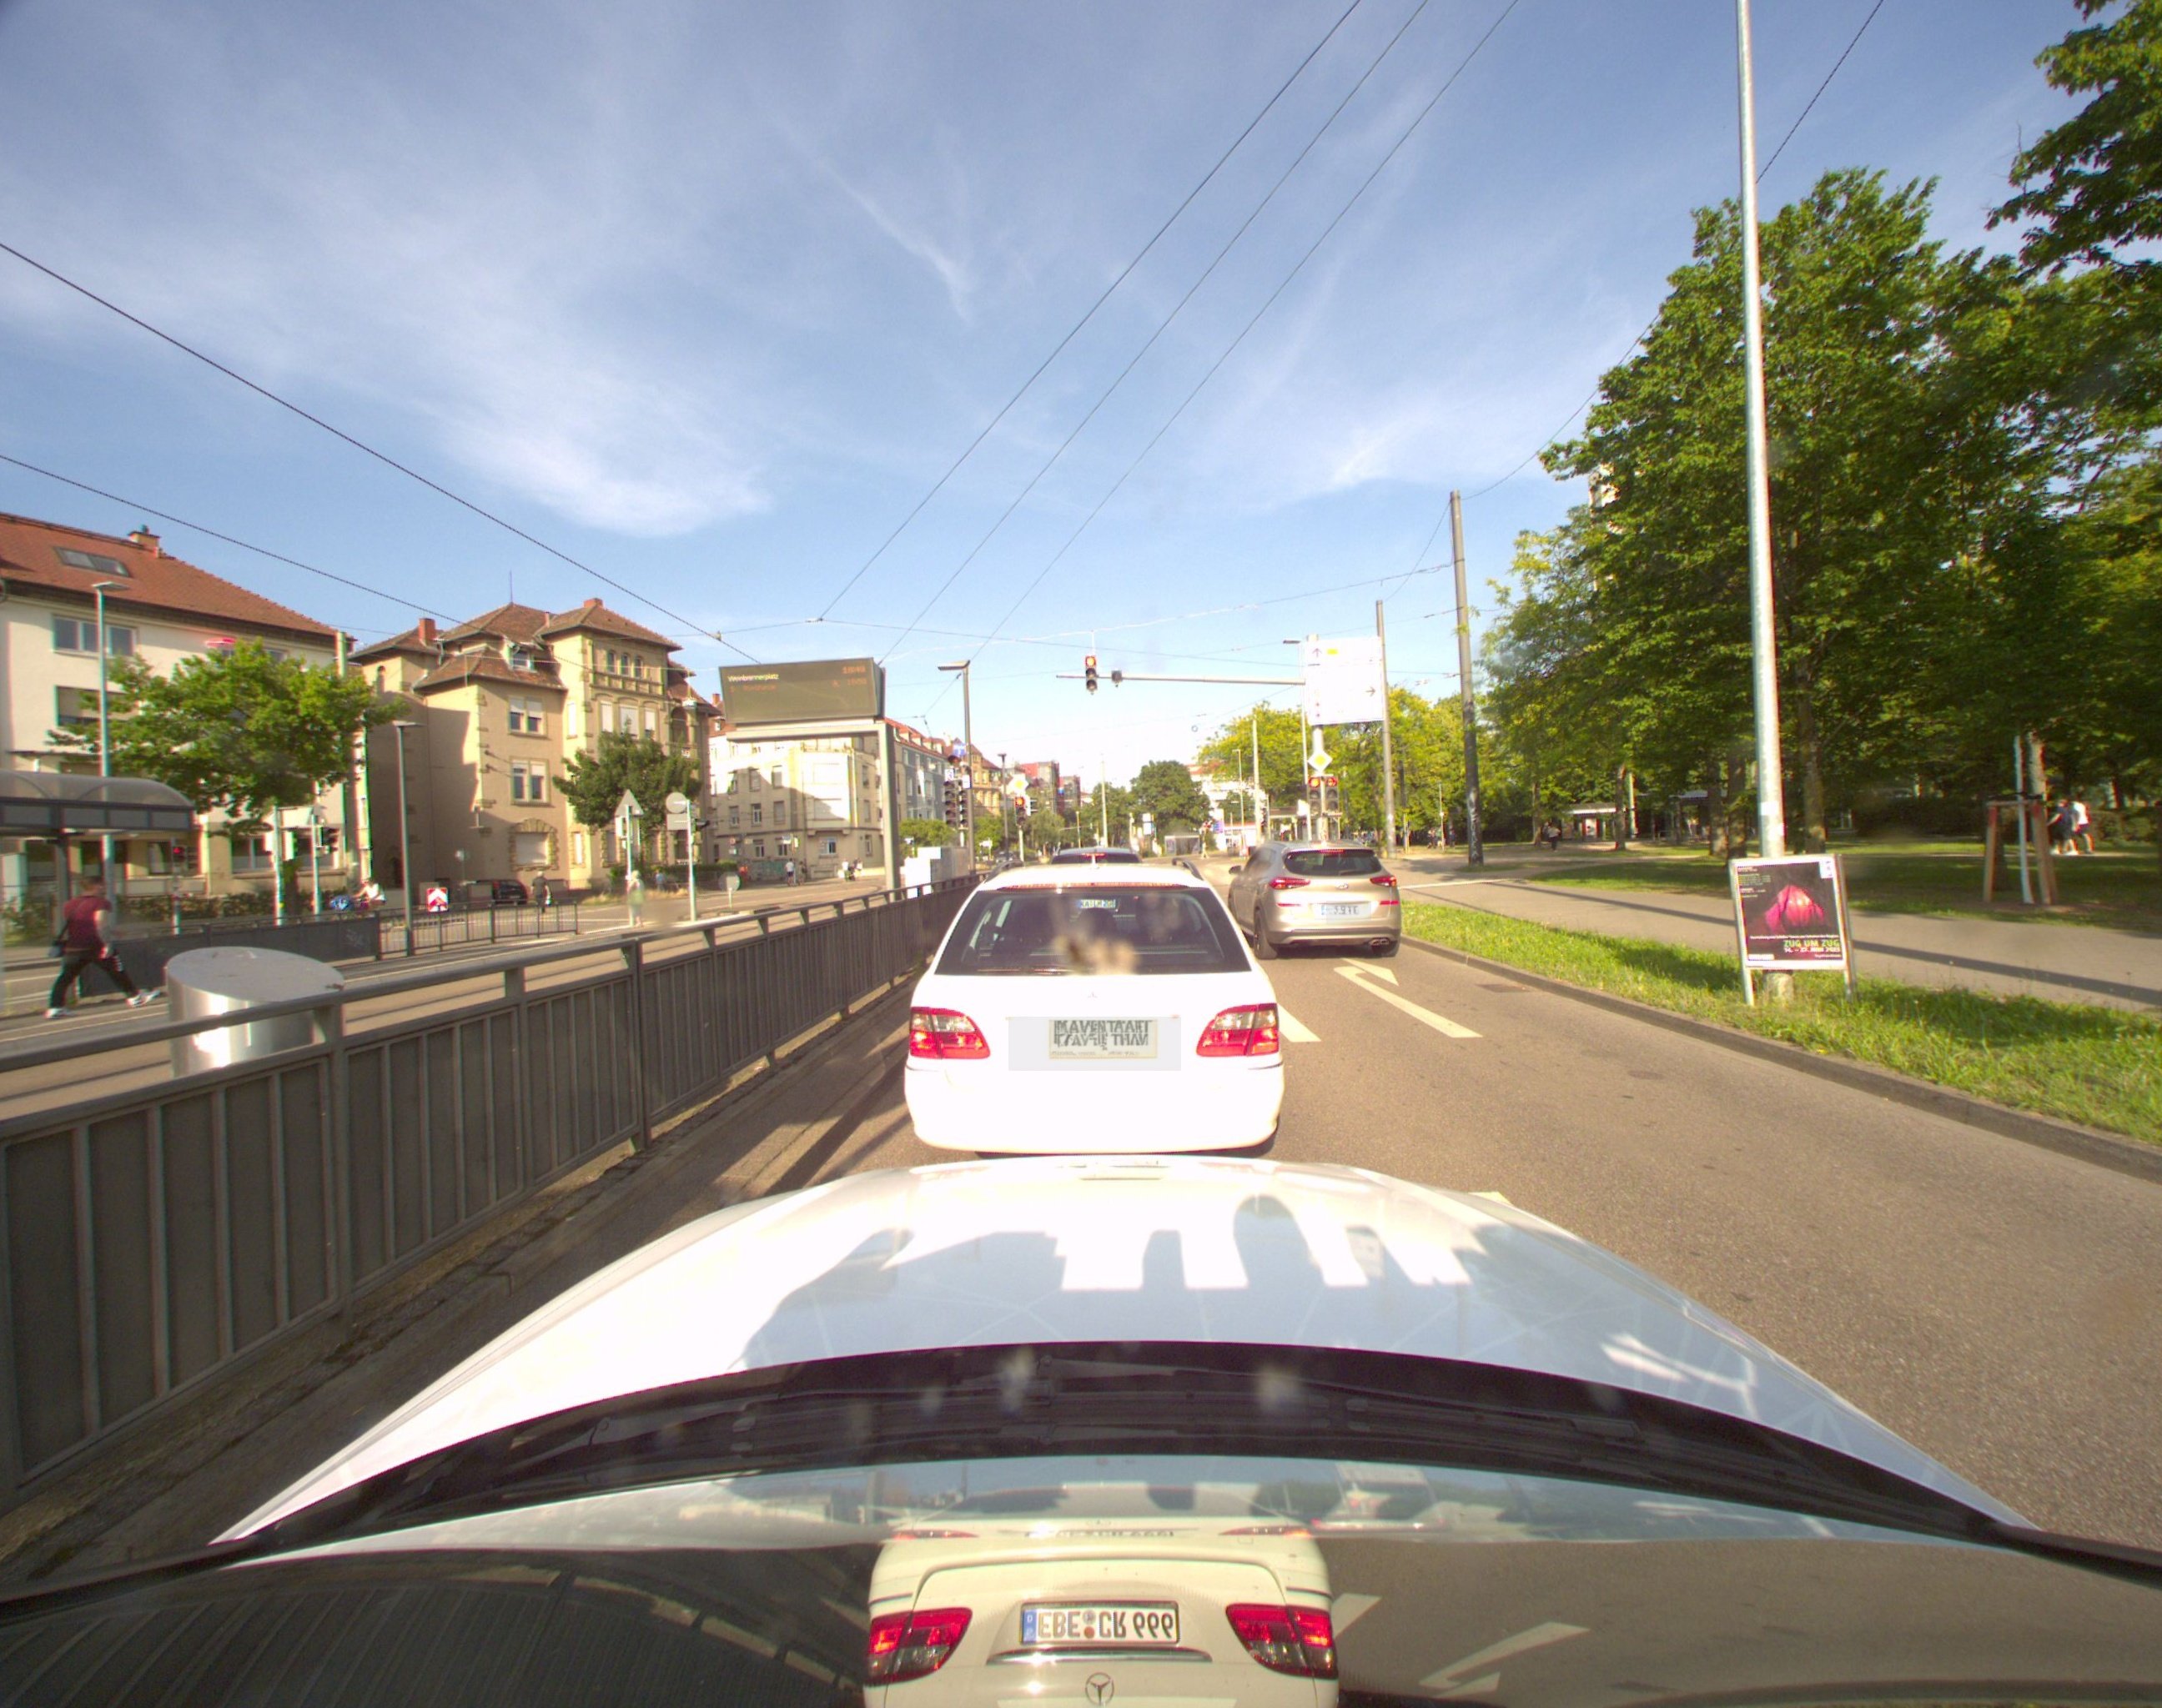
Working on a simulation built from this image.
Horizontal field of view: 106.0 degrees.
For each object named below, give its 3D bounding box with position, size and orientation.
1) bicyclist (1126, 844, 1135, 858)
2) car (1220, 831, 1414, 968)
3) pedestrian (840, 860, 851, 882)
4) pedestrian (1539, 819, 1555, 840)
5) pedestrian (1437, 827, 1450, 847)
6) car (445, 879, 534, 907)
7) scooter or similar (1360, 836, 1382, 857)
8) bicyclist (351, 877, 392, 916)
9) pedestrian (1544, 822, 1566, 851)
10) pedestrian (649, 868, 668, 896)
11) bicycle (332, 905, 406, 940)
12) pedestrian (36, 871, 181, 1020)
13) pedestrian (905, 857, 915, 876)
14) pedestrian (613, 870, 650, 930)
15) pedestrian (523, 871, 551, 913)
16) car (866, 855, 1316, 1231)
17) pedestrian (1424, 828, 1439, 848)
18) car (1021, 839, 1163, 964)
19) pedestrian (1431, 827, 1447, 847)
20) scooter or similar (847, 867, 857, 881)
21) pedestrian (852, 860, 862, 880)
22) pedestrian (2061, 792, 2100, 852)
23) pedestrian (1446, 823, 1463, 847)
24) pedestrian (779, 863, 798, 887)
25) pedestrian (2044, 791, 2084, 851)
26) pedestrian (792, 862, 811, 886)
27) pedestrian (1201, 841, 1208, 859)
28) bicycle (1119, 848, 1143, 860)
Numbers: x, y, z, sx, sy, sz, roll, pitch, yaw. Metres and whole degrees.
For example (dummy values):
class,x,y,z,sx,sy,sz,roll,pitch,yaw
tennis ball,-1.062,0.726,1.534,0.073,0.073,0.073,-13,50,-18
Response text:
class,x,y,z,sx,sy,sz,roll,pitch,yaw
bicyclist,5.419,-0.366,88.832,0.855,1.482,0.792,-3,0,11
car,3.319,0.568,12.194,1.878,1.651,3.649,-3,0,2
pedestrian,-17.749,1.288,61.351,0.506,1.626,0.609,-3,0,3
pedestrian,36.699,-1.927,64.136,0.831,1.636,0.804,-3,0,8
pedestrian,27.768,-1.304,62.380,0.805,1.487,0.705,-3,0,26
car,-29.454,1.914,40.569,4.066,1.310,1.774,-1,-1,24
scooter or similar,16.127,-0.386,45.327,0.421,1.117,1.322,-3,0,-18
bicyclist,-20.386,1.217,23.398,0.510,1.044,0.680,-3,0,2
pedestrian,28.028,-1.047,48.163,0.758,1.636,0.800,-3,0,-38
pedestrian,-23.697,1.569,45.652,0.626,1.541,0.711,-3,0,1
bicycle,-20.356,1.950,23.322,0.524,0.834,1.687,-3,0,3
pedestrian,-11.902,1.080,9.999,0.551,1.684,0.878,-6,0,2
pedestrian,-15.562,1.160,74.130,0.579,1.660,0.625,-3,0,20
pedestrian,-12.514,1.259,22.682,0.611,1.599,0.632,-3,0,-5
pedestrian,-22.199,1.559,33.224,0.798,1.645,0.748,-3,0,-42
car,0.083,0.769,5.118,1.789,1.470,3.648,-1,0,1
pedestrian,27.255,-1.242,63.297,0.820,1.487,0.692,-3,0,-40
car,0.205,0.626,12.689,1.878,1.651,3.649,0,0,2
pedestrian,28.104,-1.324,63.885,0.813,1.487,0.698,-3,0,-9
scooter or similar,-17.495,1.543,62.336,0.541,1.079,0.683,-1,-1,1
pedestrian,-16.900,1.200,61.515,0.434,1.500,0.551,-3,0,16
pedestrian,31.096,-0.995,25.333,0.504,1.811,0.624,-3,0,-27
pedestrian,29.119,-1.478,63.505,0.797,1.785,0.838,-3,0,-2
pedestrian,-19.989,1.425,55.693,0.822,1.552,0.786,-3,0,23
pedestrian,30.425,-1.006,25.198,0.503,1.811,0.624,-3,0,-24
pedestrian,-19.035,1.380,55.511,0.822,1.552,0.786,-3,0,23
pedestrian,12.618,-0.405,83.298,0.638,1.857,0.554,-3,0,13
bicycle,5.507,0.016,88.821,2.467,1.213,0.809,-3,0,9
